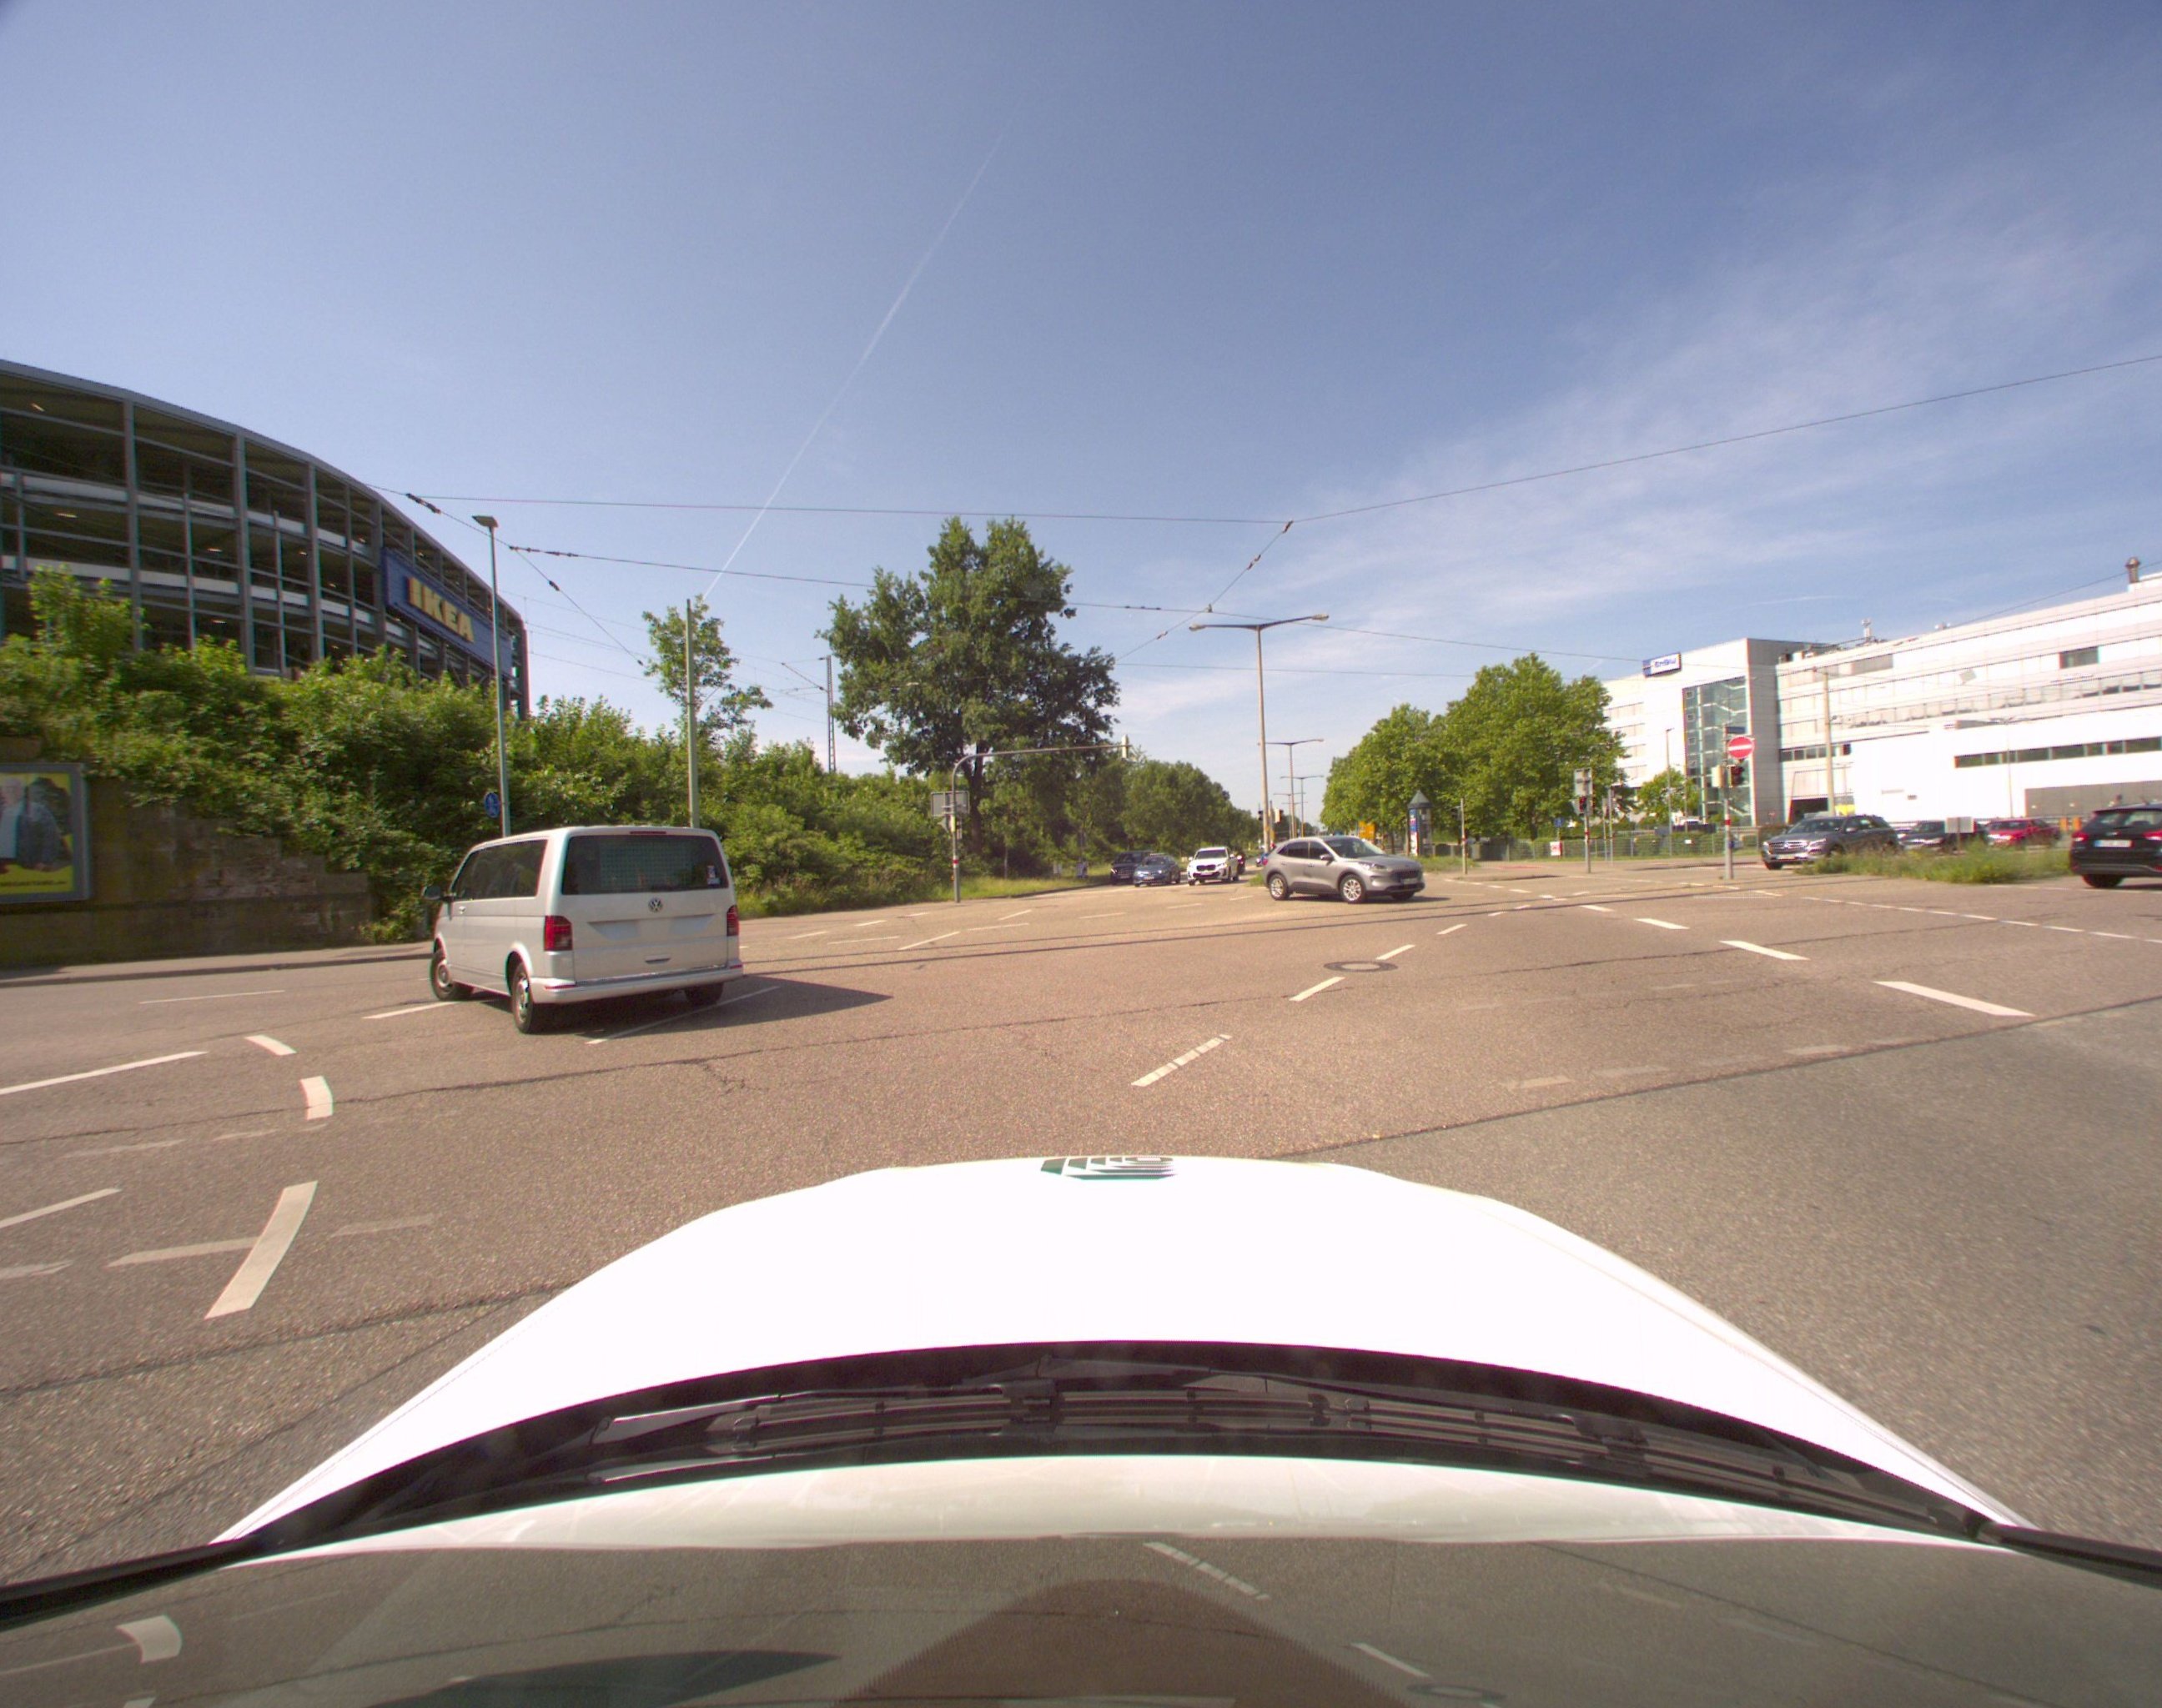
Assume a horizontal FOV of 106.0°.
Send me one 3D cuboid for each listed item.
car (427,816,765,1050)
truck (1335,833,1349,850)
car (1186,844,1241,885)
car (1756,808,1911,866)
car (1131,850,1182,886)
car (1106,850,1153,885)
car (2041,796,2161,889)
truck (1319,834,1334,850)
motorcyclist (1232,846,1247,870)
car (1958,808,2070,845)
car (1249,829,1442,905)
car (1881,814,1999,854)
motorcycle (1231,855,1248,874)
[{"bbox_3d":[-5.727,0.700,9.285,4.958,1.971,1.960,-2,0,43],"label":"car"},{"bbox_3d":[71.397,-3.422,222.459,3.165,4.355,13.212,-3,0,19],"label":"truck"},{"bbox_3d":[6.137,0.419,37.403,1.895,1.689,4.646,-3,0,16],"label":"car"},{"bbox_3d":[25.267,-0.572,27.362,4.628,1.689,1.903,-3,0,-21],"label":"car"},{"bbox_3d":[3.742,0.646,39.766,1.836,1.561,4.015,-3,0,14],"label":"car"},{"bbox_3d":[2.811,0.713,46.316,1.836,1.814,4.015,-3,0,14],"label":"car"},{"bbox_3d":[20.878,-0.296,14.885,4.346,1.605,1.815,-3,0,2],"label":"car"},{"bbox_3d":[58.353,-2.861,193.586,2.818,3.577,8.763,-3,0,19],"label":"truck"},{"bbox_3d":[9.808,0.263,50.471,0.729,1.447,0.877,-4,-1,19],"label":"motorcyclist"},{"bbox_3d":[41.777,-1.231,36.462,4.628,1.444,1.769,-3,0,-21],"label":"car"},{"bbox_3d":[6.532,0.322,20.734,2.001,1.650,4.617,-3,0,-25],"label":"car"},{"bbox_3d":[36.463,-0.856,34.575,4.628,1.444,1.769,-3,0,-21],"label":"car"},{"bbox_3d":[9.828,0.621,50.459,0.729,1.083,2.053,-4,-1,19],"label":"motorcycle"}]
